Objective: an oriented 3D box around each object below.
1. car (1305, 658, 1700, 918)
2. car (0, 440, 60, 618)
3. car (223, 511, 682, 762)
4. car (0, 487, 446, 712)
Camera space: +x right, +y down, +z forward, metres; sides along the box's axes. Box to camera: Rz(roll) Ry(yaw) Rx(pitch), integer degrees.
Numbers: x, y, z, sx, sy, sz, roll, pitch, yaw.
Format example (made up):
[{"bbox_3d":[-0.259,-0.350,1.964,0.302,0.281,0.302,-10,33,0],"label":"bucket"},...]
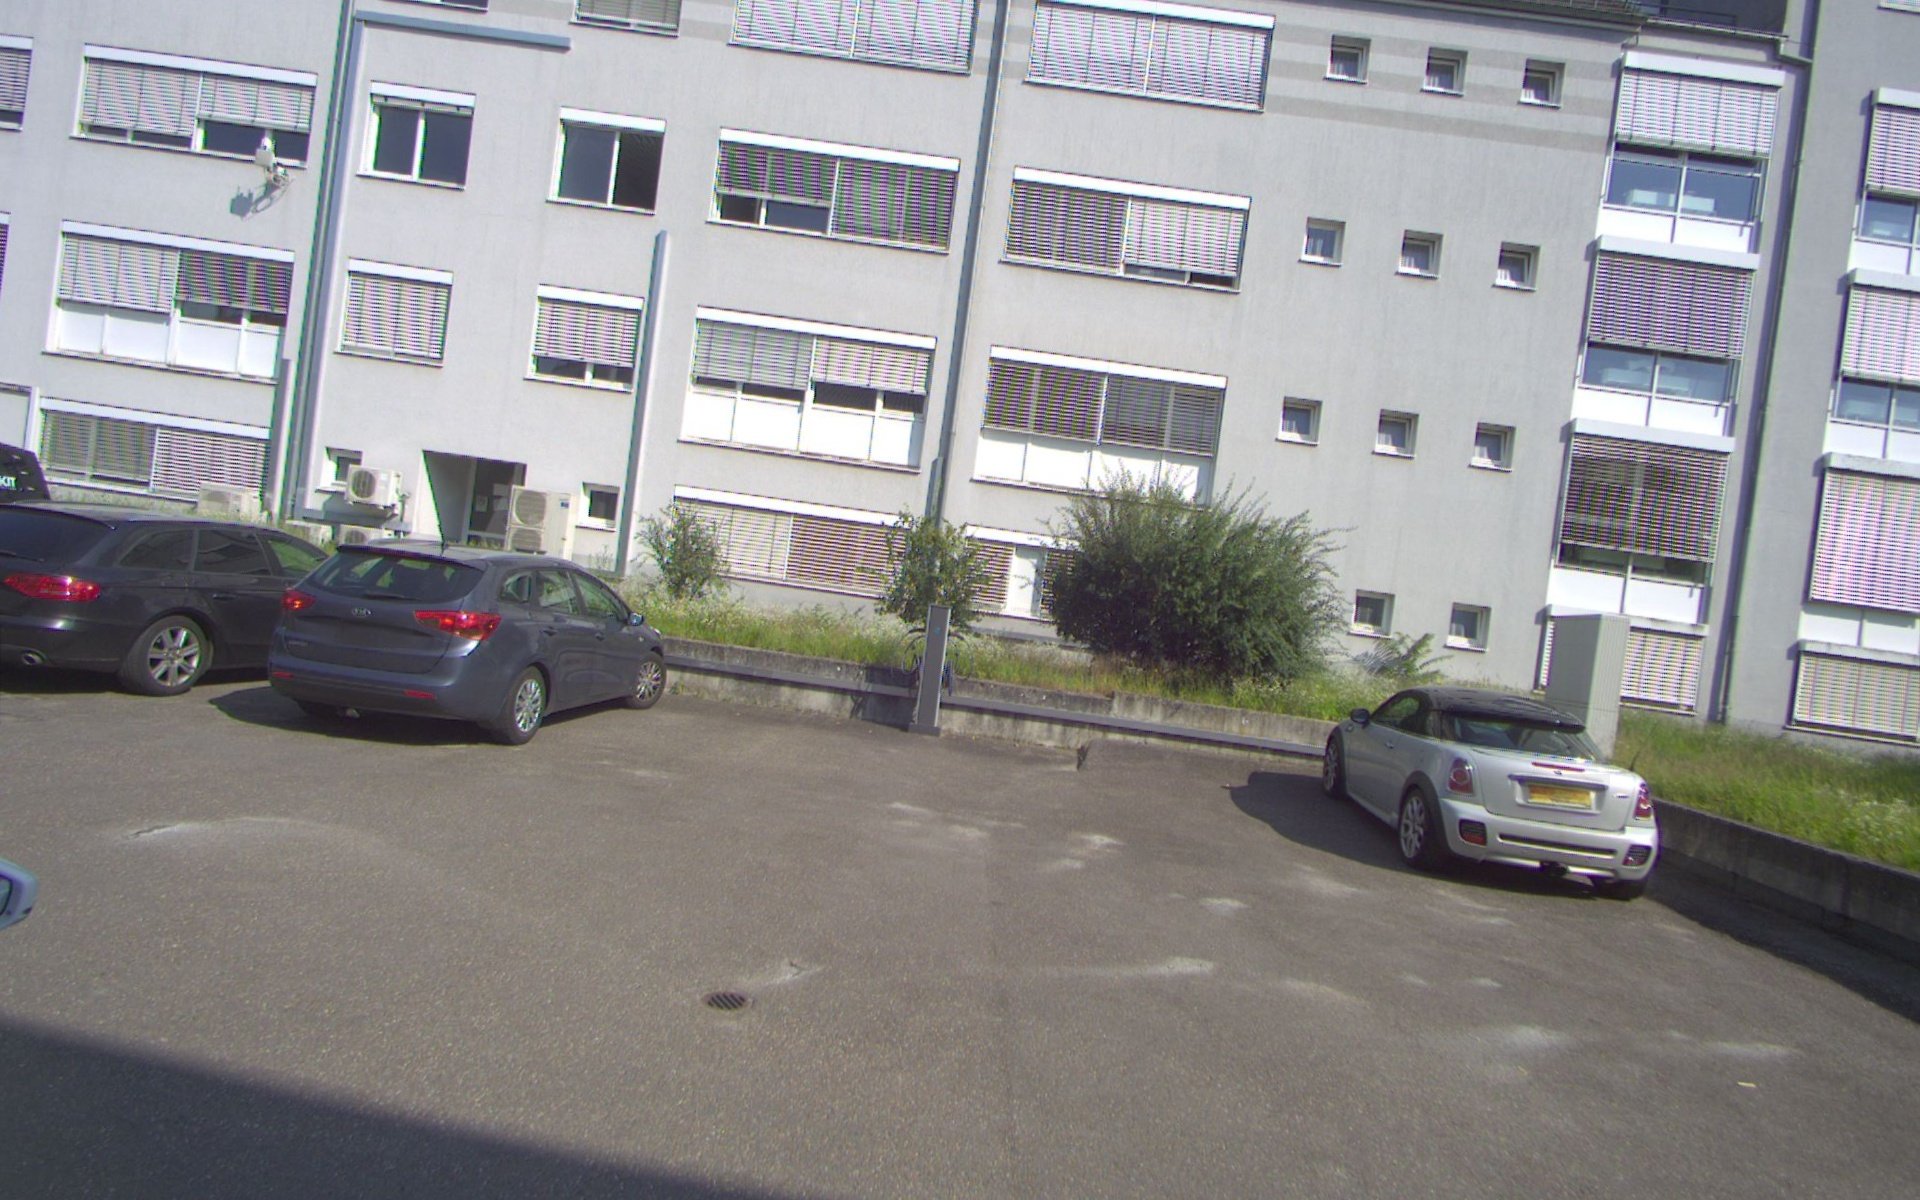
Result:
[{"bbox_3d":[4.437,1.429,8.909,1.628,1.455,3.583,8,0,5],"label":"car"},{"bbox_3d":[-11.024,-0.872,9.029,1.880,1.881,4.347,8,0,-2],"label":"car"},{"bbox_3d":[-4.072,0.270,8.968,1.710,1.496,4.060,8,0,3],"label":"car"},{"bbox_3d":[-6.795,-0.038,9.068,1.658,1.455,4.248,8,0,6],"label":"car"}]
